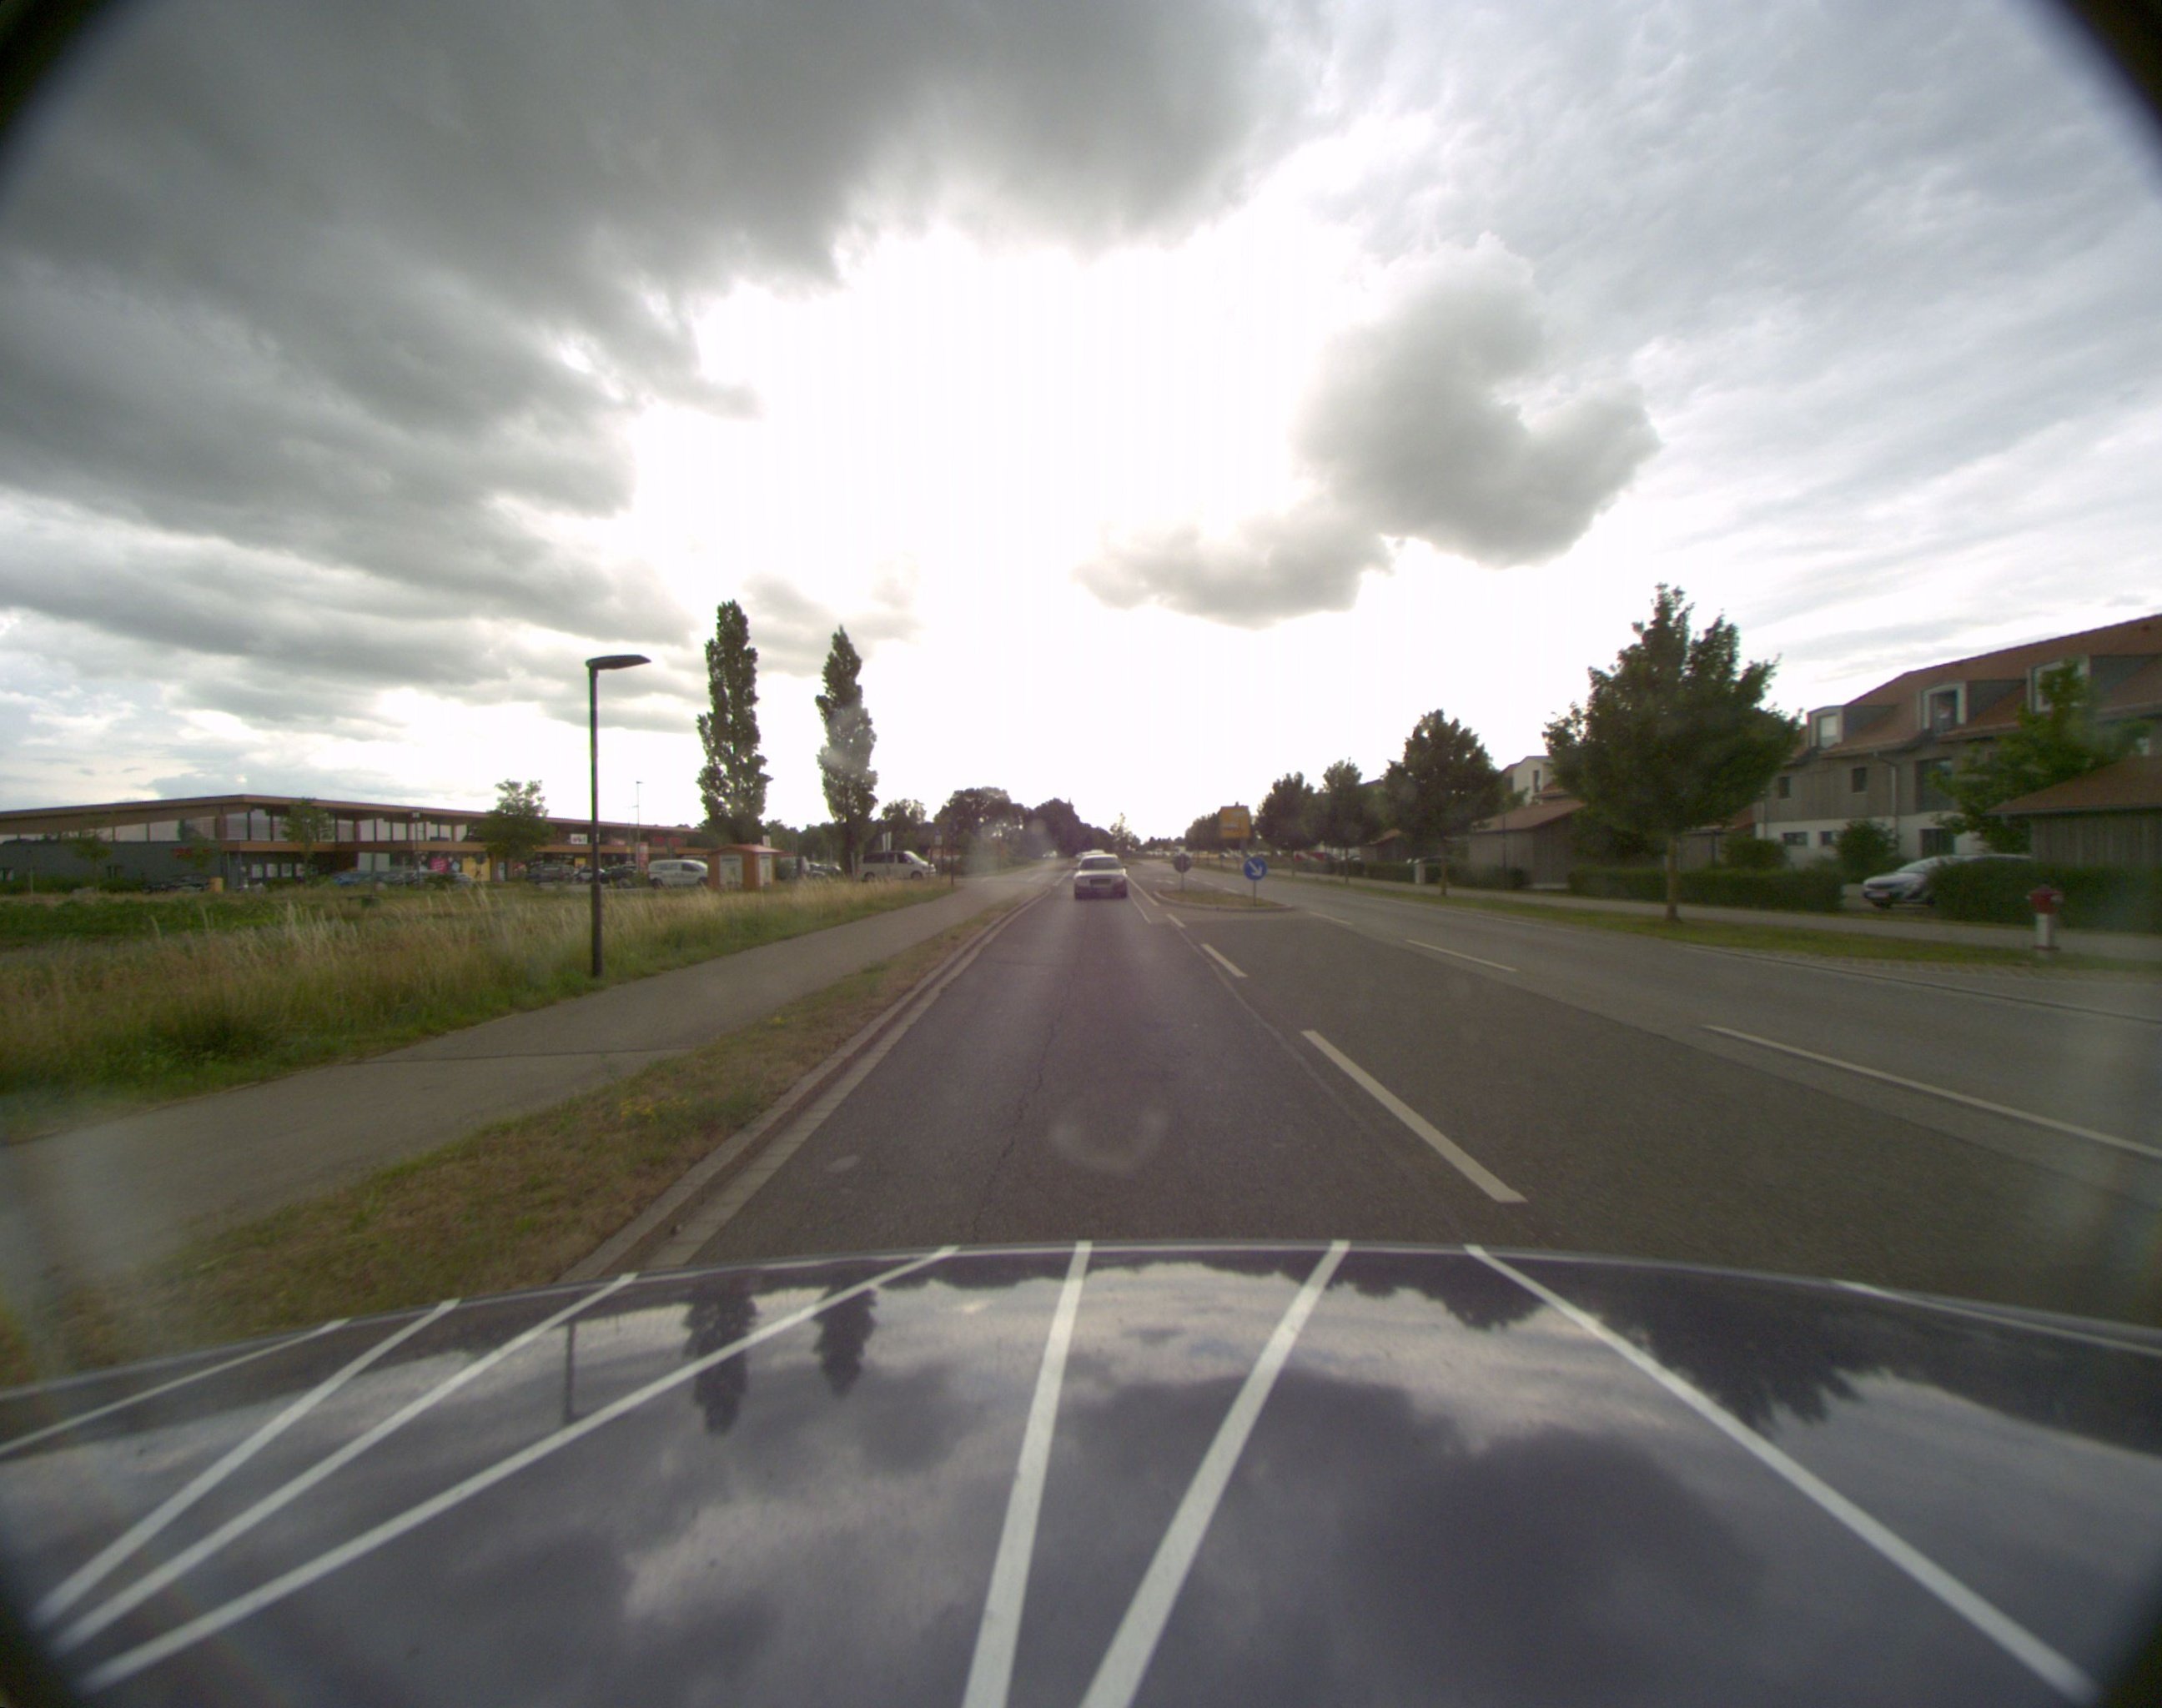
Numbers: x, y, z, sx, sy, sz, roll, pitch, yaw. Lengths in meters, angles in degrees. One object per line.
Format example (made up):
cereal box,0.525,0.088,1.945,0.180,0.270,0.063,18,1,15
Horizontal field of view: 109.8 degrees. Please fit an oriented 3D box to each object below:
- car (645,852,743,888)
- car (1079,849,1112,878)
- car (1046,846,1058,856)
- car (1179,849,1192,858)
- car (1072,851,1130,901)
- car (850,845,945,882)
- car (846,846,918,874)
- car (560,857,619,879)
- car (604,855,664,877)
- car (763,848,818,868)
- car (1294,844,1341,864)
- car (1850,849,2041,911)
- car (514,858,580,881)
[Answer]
car,-25.196,1.016,49.548,5.312,2.002,2.000,-3,1,3
car,0.864,0.504,44.242,1.763,1.495,4.690,-3,1,1
car,-5.733,-0.557,149.457,1.998,2.002,4.000,-1,1,1
car,21.288,-0.076,155.338,1.998,1.773,3.999,-3,1,0
car,0.753,0.692,26.322,1.762,1.410,4.520,-3,1,3
car,-11.731,0.582,48.784,5.313,2.002,2.562,-3,1,2
car,-16.797,0.499,64.361,5.526,2.002,1.999,-3,1,-5
car,-52.904,1.505,81.904,4.857,2.002,1.998,-3,1,-6
car,-46.219,1.232,78.640,4.857,2.002,1.998,-3,1,-6
car,-33.850,0.437,88.579,5.526,2.002,1.999,-3,1,-5
car,25.888,-0.026,83.224,4.568,2.002,2.000,-3,1,6
car,23.268,0.668,20.523,3.592,1.431,1.301,-3,1,1
car,-52.776,1.500,75.220,4.857,2.002,1.998,-3,1,-6
